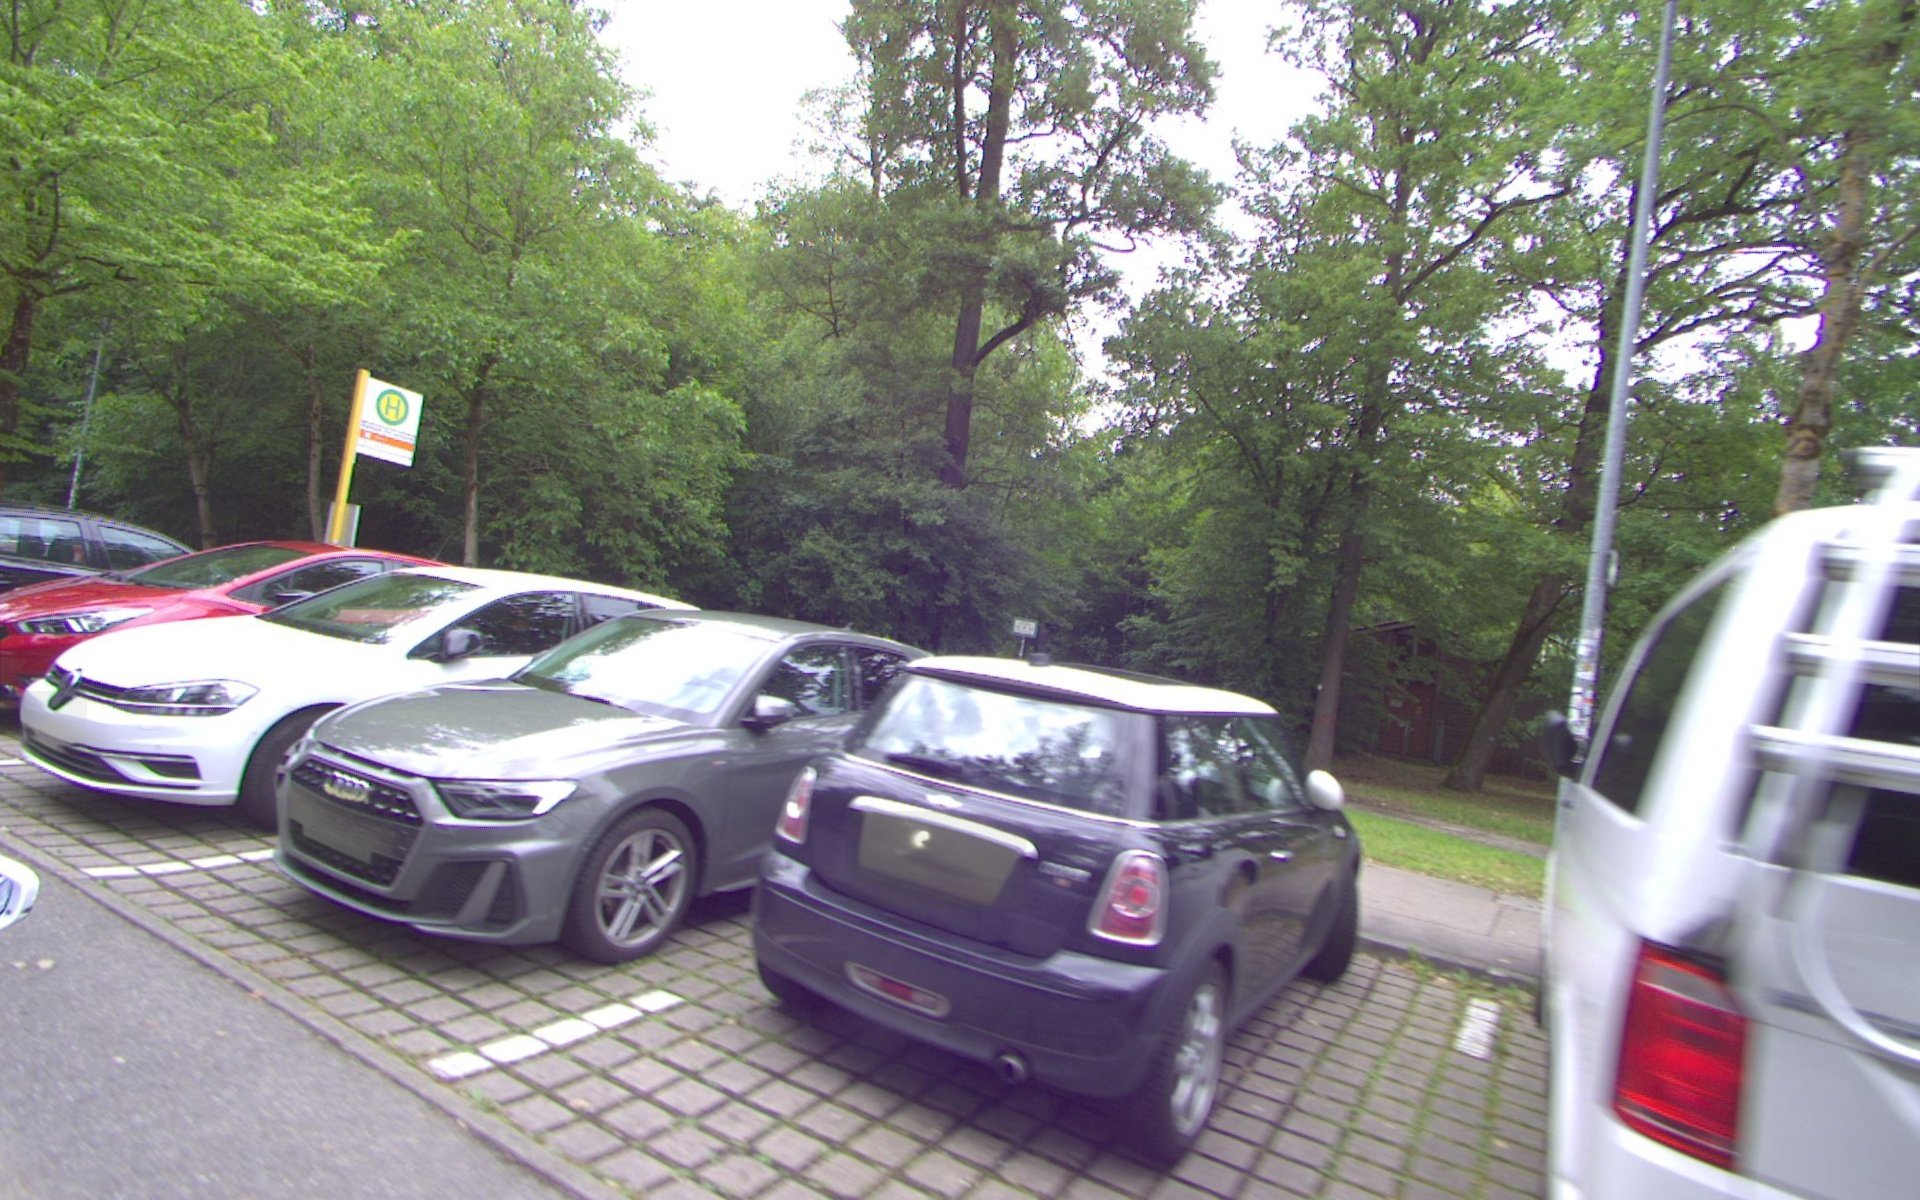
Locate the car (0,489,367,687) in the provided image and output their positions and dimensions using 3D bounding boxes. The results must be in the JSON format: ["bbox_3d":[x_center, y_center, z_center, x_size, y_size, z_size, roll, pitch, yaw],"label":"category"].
[{"bbox_3d":[-7.943,-0.134,9.042,1.889,1.500,3.998,7,-2,28],"label":"car"}]

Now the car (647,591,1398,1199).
[{"bbox_3d":[0.727,1.117,4.645,1.815,1.571,3.735,10,-3,30],"label":"car"}]

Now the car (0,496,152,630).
[{"bbox_3d":[-12.203,-0.612,11.577,1.906,1.466,4.001,7,-2,24],"label":"car"}]

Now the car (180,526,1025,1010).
[{"bbox_3d":[-1.407,0.772,5.505,1.845,1.499,4.000,6,-4,30],"label":"car"}]

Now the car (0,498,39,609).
[{"bbox_3d":[-14.625,-0.890,12.558,1.832,1.478,4.139,7,-2,26],"label":"car"}]

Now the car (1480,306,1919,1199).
[{"bbox_3d":[2.909,1.000,3.028,2.048,2.042,4.663,9,-3,31],"label":"car"}]

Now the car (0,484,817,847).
[{"bbox_3d":[-3.276,0.468,6.875,1.822,1.492,4.782,8,-2,31],"label":"car"}]

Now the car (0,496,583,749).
[{"bbox_3d":[-5.526,0.257,8.274,1.886,1.497,4.241,7,-2,28],"label":"car"}]
